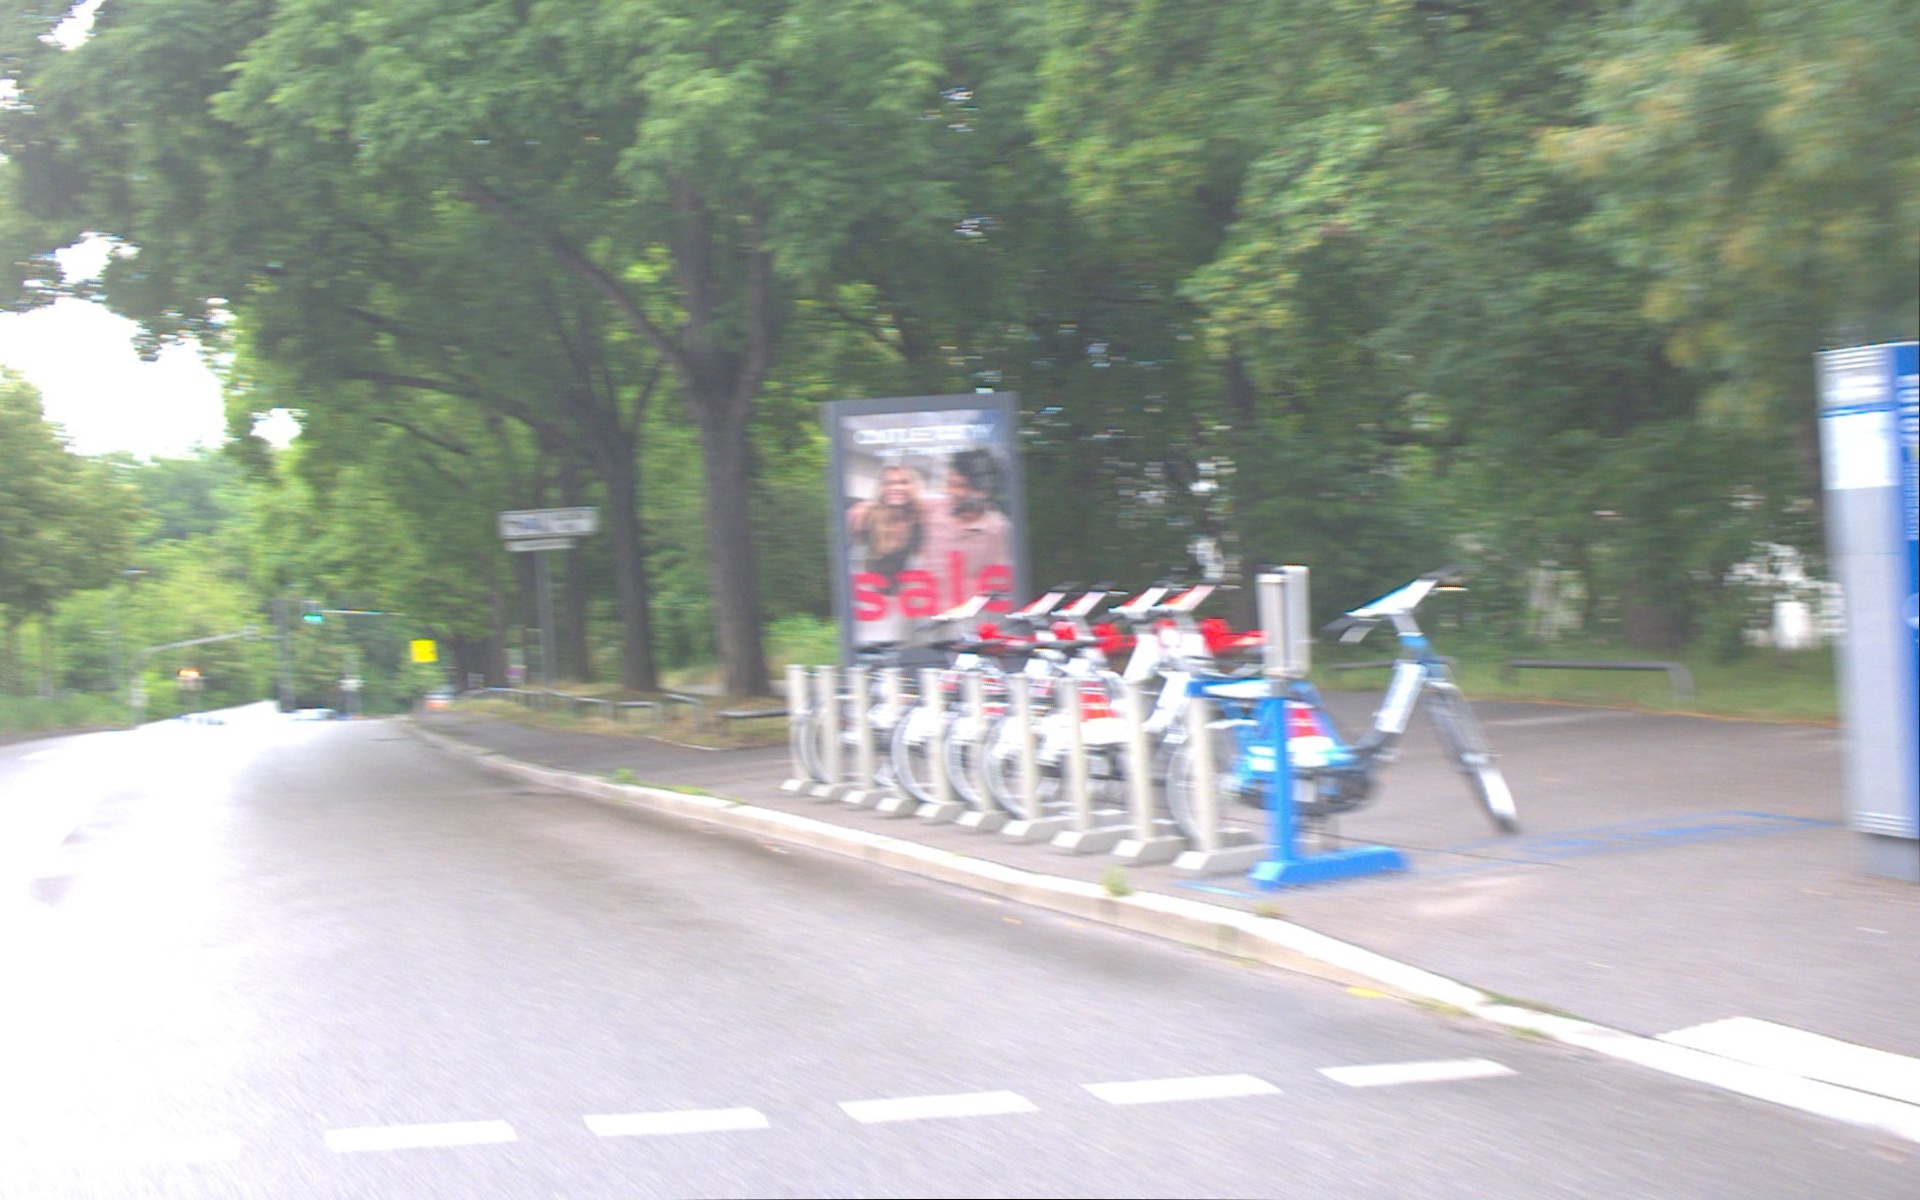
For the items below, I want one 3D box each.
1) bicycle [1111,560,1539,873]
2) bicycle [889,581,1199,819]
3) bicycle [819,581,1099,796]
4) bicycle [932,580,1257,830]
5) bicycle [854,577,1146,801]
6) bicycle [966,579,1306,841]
[{"bbox_3d":[1.536,0.481,14.488,1.595,1.127,0.557,-6,0,-16],"label":"bicycle"},{"bbox_3d":[0.456,0.539,18.772,1.485,1.127,0.557,-6,0,-16],"label":"bicycle"},{"bbox_3d":[-0.006,0.526,20.688,1.485,1.127,0.557,-6,0,-16],"label":"bicycle"},{"bbox_3d":[0.698,0.537,17.874,1.485,1.127,0.557,-6,0,-16],"label":"bicycle"},{"bbox_3d":[0.227,0.509,19.869,1.485,1.127,0.557,-6,0,-16],"label":"bicycle"},{"bbox_3d":[0.871,0.537,17.080,1.485,1.127,0.557,-6,0,-16],"label":"bicycle"}]
